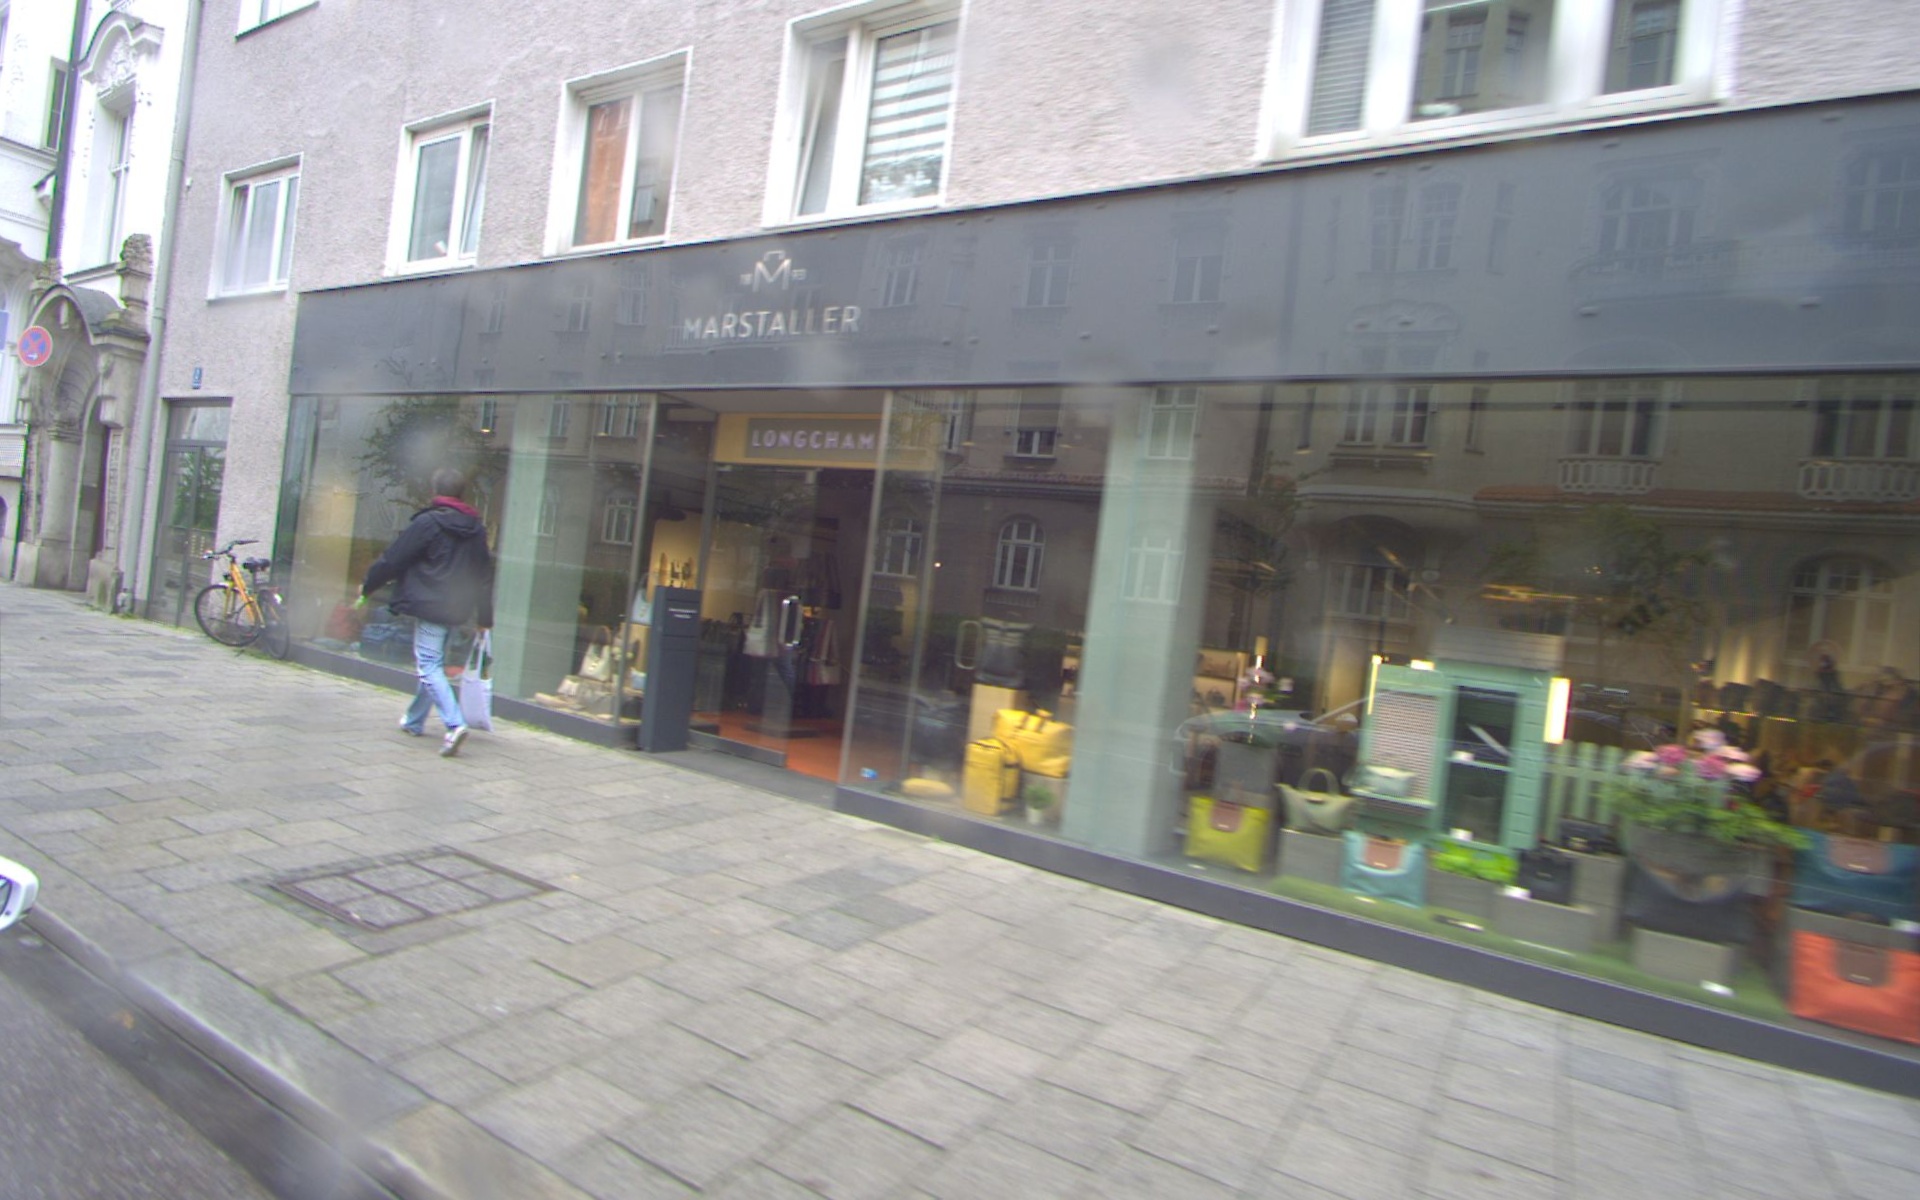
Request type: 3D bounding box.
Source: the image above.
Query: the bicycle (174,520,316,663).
[{"bbox_3d":[-7.360,-0.112,10.325,1.790,1.277,0.512,7,4,32],"label":"bicycle"}]

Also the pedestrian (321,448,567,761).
[{"bbox_3d":[-3.558,0.009,6.954,1.159,1.935,0.927,7,2,32],"label":"pedestrian"}]
